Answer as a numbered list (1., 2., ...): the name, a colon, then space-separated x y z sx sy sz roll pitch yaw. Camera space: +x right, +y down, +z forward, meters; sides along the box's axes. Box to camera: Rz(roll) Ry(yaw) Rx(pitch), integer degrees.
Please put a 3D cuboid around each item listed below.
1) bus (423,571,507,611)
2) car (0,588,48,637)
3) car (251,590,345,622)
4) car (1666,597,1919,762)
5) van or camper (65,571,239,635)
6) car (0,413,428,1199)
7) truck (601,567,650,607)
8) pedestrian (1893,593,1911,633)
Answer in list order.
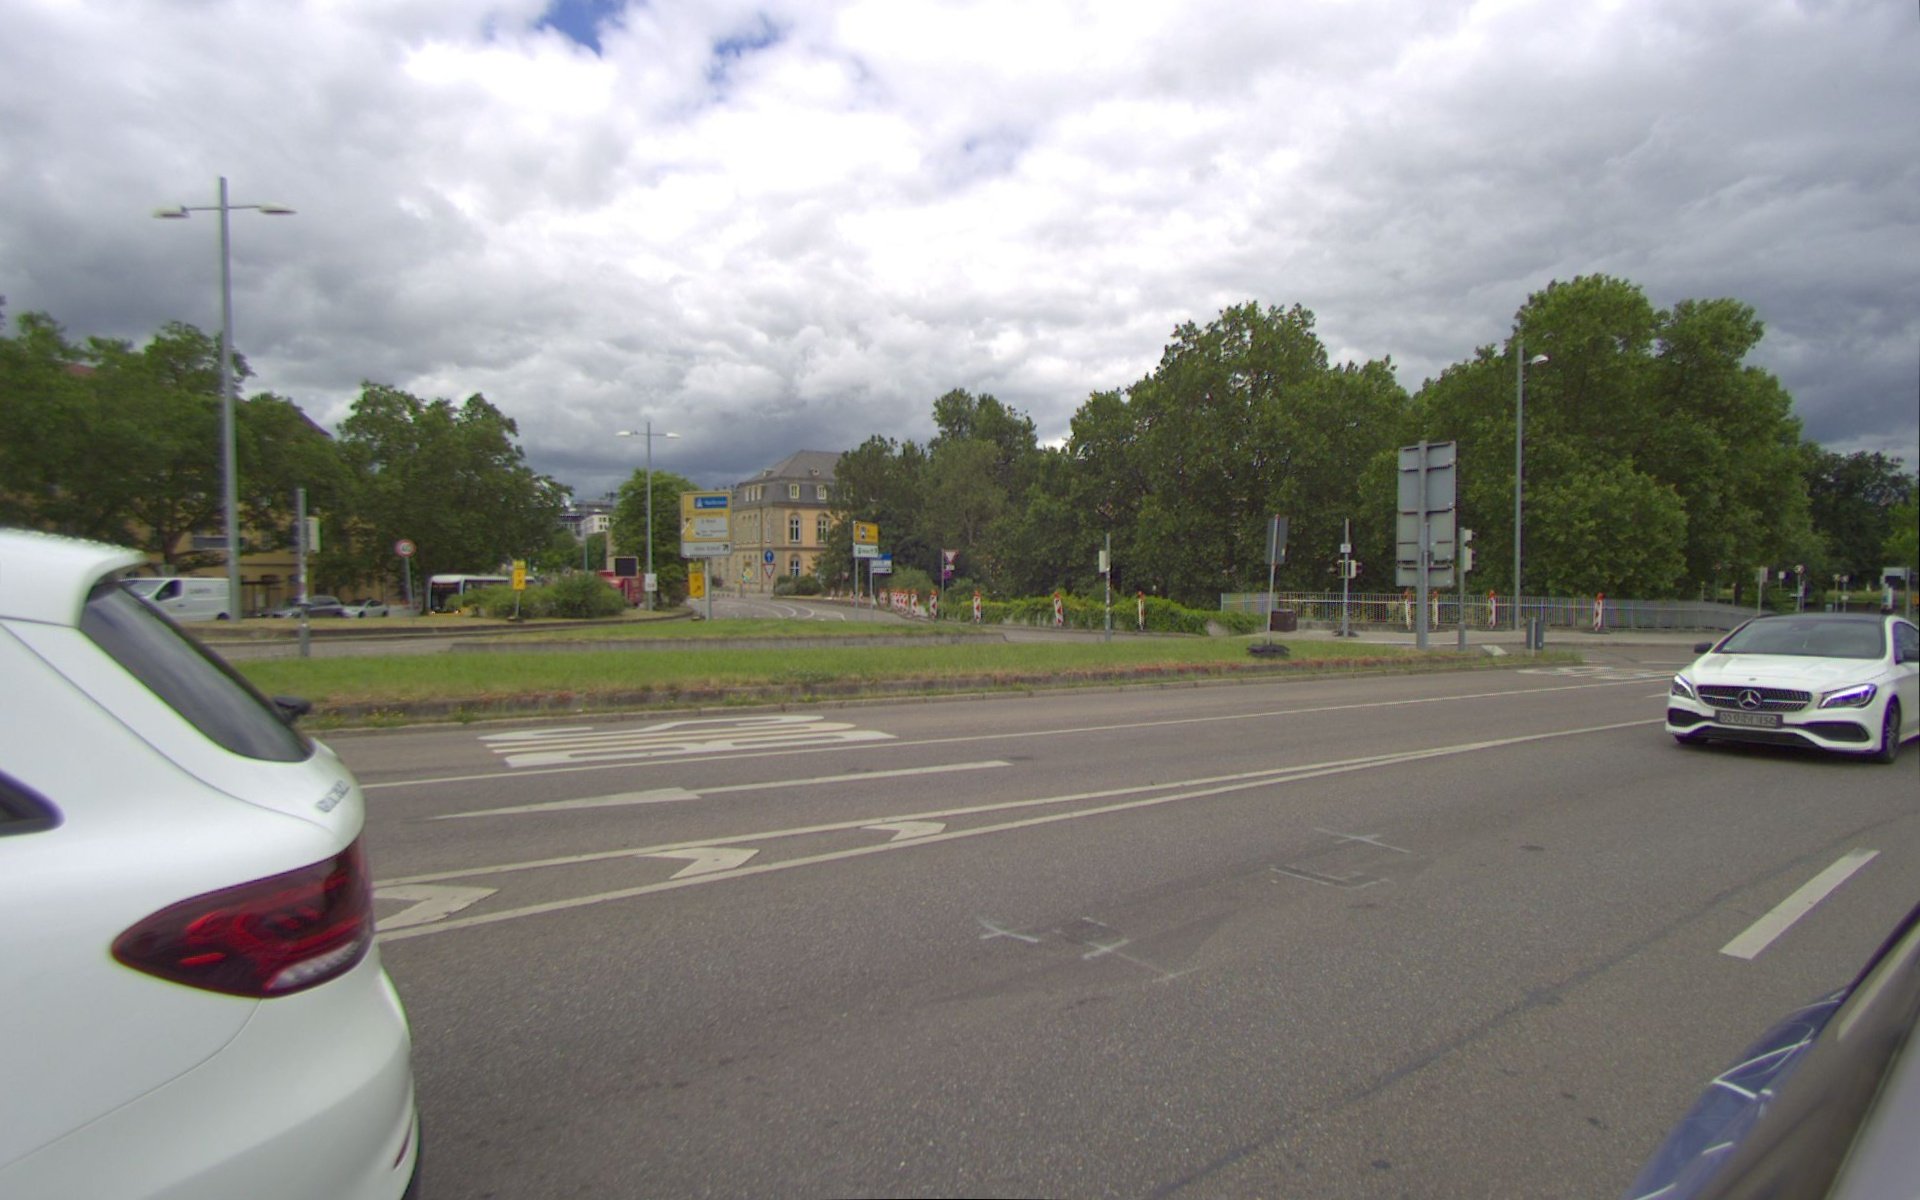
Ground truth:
1. bus: -38.297 -0.694 78.774 2.519 2.887 9.679 0 1 -5
2. car: -29.230 0.379 29.407 1.628 1.438 4.247 0 1 0
3. car: -32.276 0.264 49.502 1.628 1.438 4.553 0 1 0
4. car: 9.581 0.702 11.009 4.420 1.441 1.724 0 1 -35
5. van or camper: -26.436 0.053 33.370 1.628 1.915 5.153 0 1 0
6. car: -2.974 0.601 0.712 4.302 1.668 1.822 0 0 -41
7. truck: -29.772 -1.108 90.354 2.755 3.412 7.645 0 0 -7
8. pedestrian: 42.483 0.581 45.642 0.608 1.786 0.480 0 0 -35
